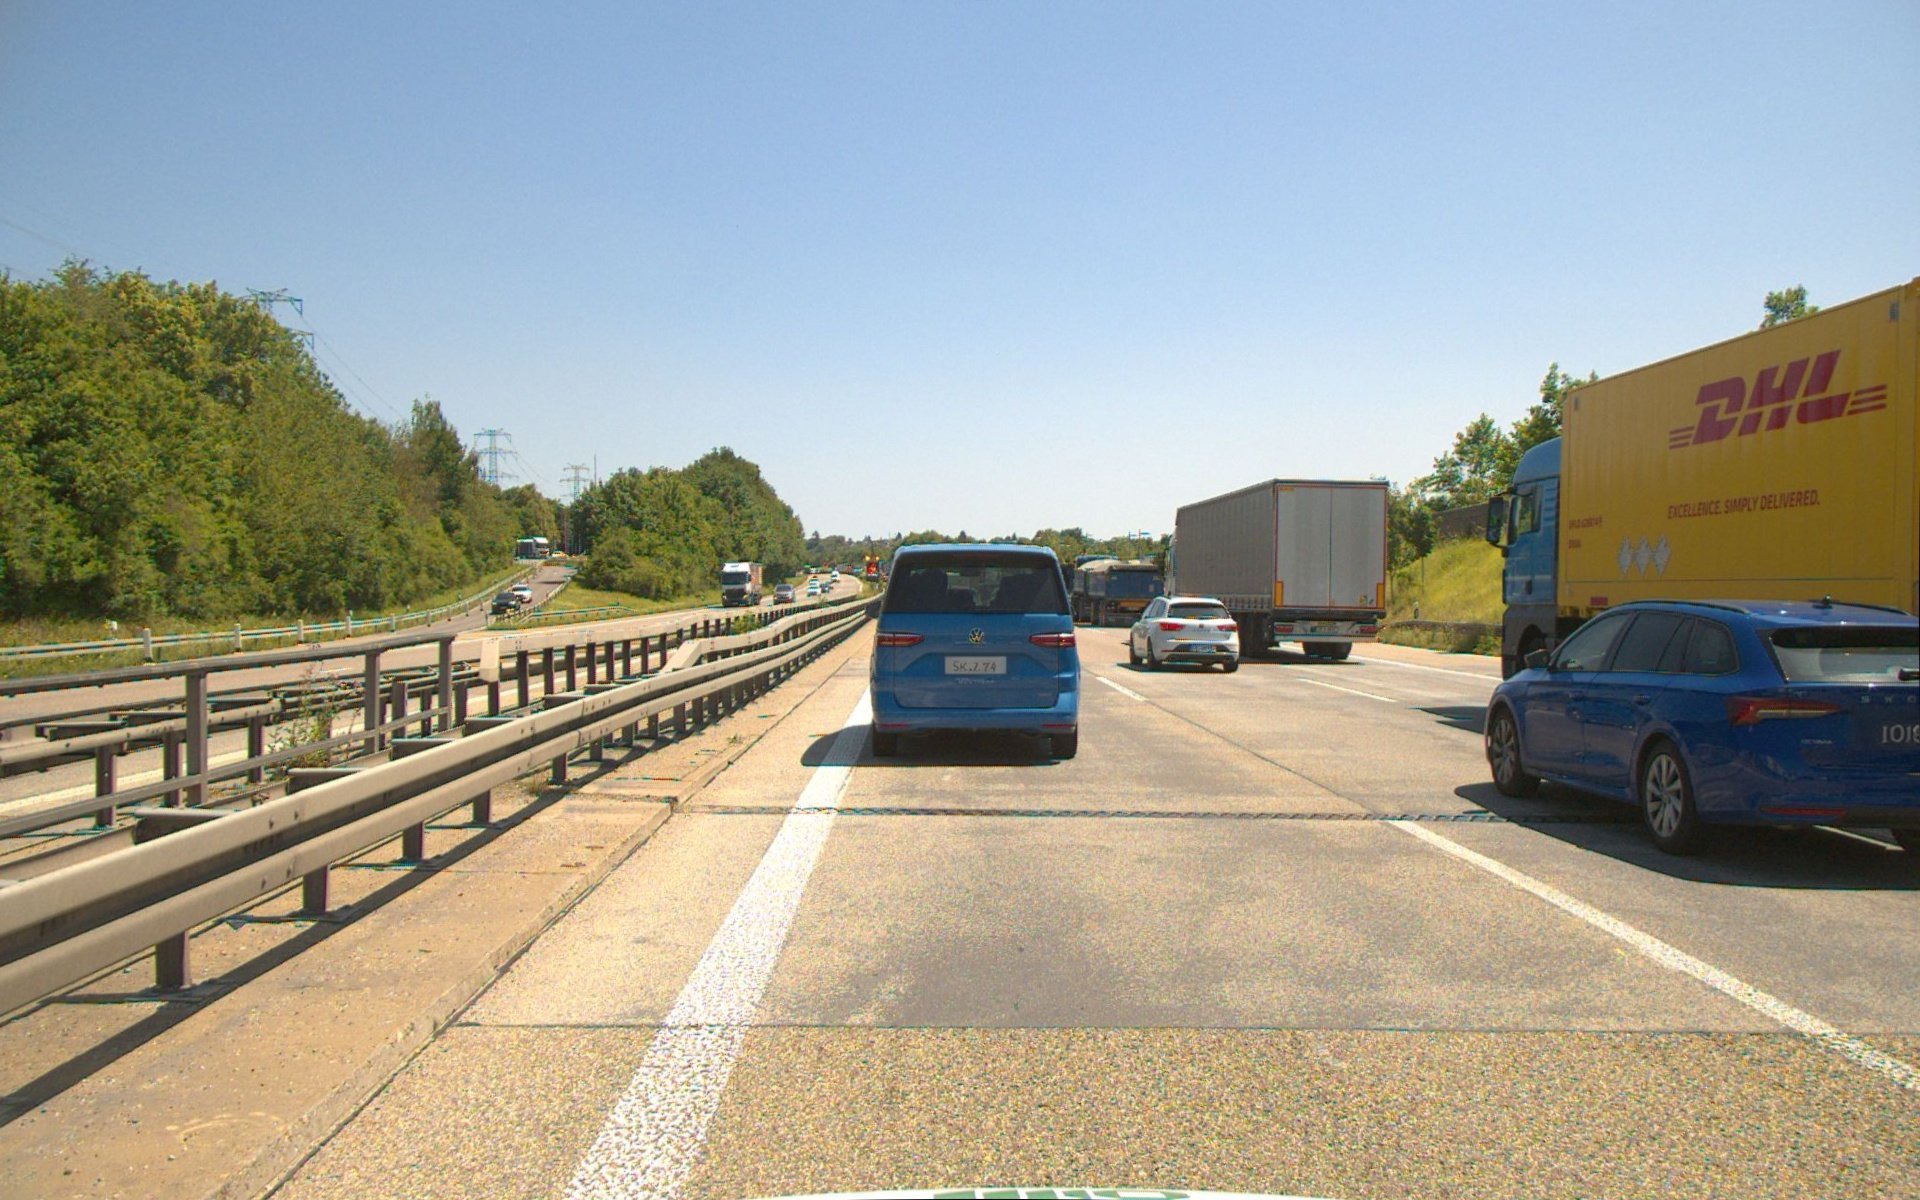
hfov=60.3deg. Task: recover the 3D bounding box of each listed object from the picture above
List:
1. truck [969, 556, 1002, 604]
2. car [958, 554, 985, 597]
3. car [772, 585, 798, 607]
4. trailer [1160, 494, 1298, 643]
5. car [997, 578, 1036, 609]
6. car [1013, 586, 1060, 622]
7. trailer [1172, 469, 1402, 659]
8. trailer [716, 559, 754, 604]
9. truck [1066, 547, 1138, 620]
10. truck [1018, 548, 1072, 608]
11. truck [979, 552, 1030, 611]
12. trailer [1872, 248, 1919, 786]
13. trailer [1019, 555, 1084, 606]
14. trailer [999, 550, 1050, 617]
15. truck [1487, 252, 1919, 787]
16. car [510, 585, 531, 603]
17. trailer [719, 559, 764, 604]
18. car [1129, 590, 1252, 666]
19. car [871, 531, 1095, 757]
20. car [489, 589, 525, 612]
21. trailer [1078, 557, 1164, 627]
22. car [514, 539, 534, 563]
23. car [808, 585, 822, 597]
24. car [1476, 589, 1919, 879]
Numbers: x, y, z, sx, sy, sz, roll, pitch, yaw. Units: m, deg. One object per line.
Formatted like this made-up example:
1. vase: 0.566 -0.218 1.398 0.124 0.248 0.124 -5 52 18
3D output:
1. truck: 2.706 -2.149 181.235 3.006 5.006 10.685 1 0 -2
2. car: 1.454 -3.064 213.327 3.153 5.349 8.141 1 0 -2
3. car: -16.419 -0.372 155.626 1.953 1.975 4.895 1 0 -1
4. trailer: 7.870 -0.894 49.142 2.865 4.114 6.409 0 1 -2
5. car: 2.890 -0.323 85.362 1.745 1.551 3.998 1 0 -2
6. car: 3.328 0.183 72.357 1.803 1.480 3.999 1 0 0
7. trailer: 8.030 -0.816 42.995 2.902 4.120 13.747 0 0 -2
8. trailer: -20.718 -1.703 152.704 2.701 4.045 6.130 -2 1 -2
9. truck: 6.897 -0.827 81.283 2.688 3.369 7.131 1 1 -2
10. truck: 6.122 -1.525 120.814 3.551 4.166 7.524 1 0 1
11. truck: 4.187 -1.645 159.479 3.549 5.304 15.678 1 0 -3
12. trailer: 8.851 -0.608 8.792 2.709 4.189 9.375 1 0 -1
13. trailer: 6.059 -1.194 112.732 3.572 3.133 15.771 1 0 0
14. trailer: 5.243 -1.241 137.209 3.572 5.226 13.073 1 0 -1
15. truck: 8.695 -0.628 17.937 2.709 4.181 9.952 1 0 0
16. car: -37.656 -0.479 141.558 1.658 1.481 4.326 1 0 -16
17. trailer: -20.921 -1.783 159.213 2.707 4.045 14.677 -2 1 -2
18. car: 4.505 0.515 32.821 1.829 1.385 4.000 1 0 -1
19. car: 0.185 0.385 15.996 1.863 1.870 3.999 1 0 -1
20. car: -33.823 0.036 123.707 1.956 1.603 5.264 1 0 -9
21. trailer: 7.086 -0.423 74.014 2.688 2.886 9.113 1 1 -2
22. car: -58.760 -6.566 222.956 2.038 2.930 6.692 -1 0 -20
23. car: -19.885 -1.227 227.270 1.814 1.493 4.302 -1 0 -3
24. car: 4.912 0.708 10.701 1.671 1.466 4.426 1 0 -1
